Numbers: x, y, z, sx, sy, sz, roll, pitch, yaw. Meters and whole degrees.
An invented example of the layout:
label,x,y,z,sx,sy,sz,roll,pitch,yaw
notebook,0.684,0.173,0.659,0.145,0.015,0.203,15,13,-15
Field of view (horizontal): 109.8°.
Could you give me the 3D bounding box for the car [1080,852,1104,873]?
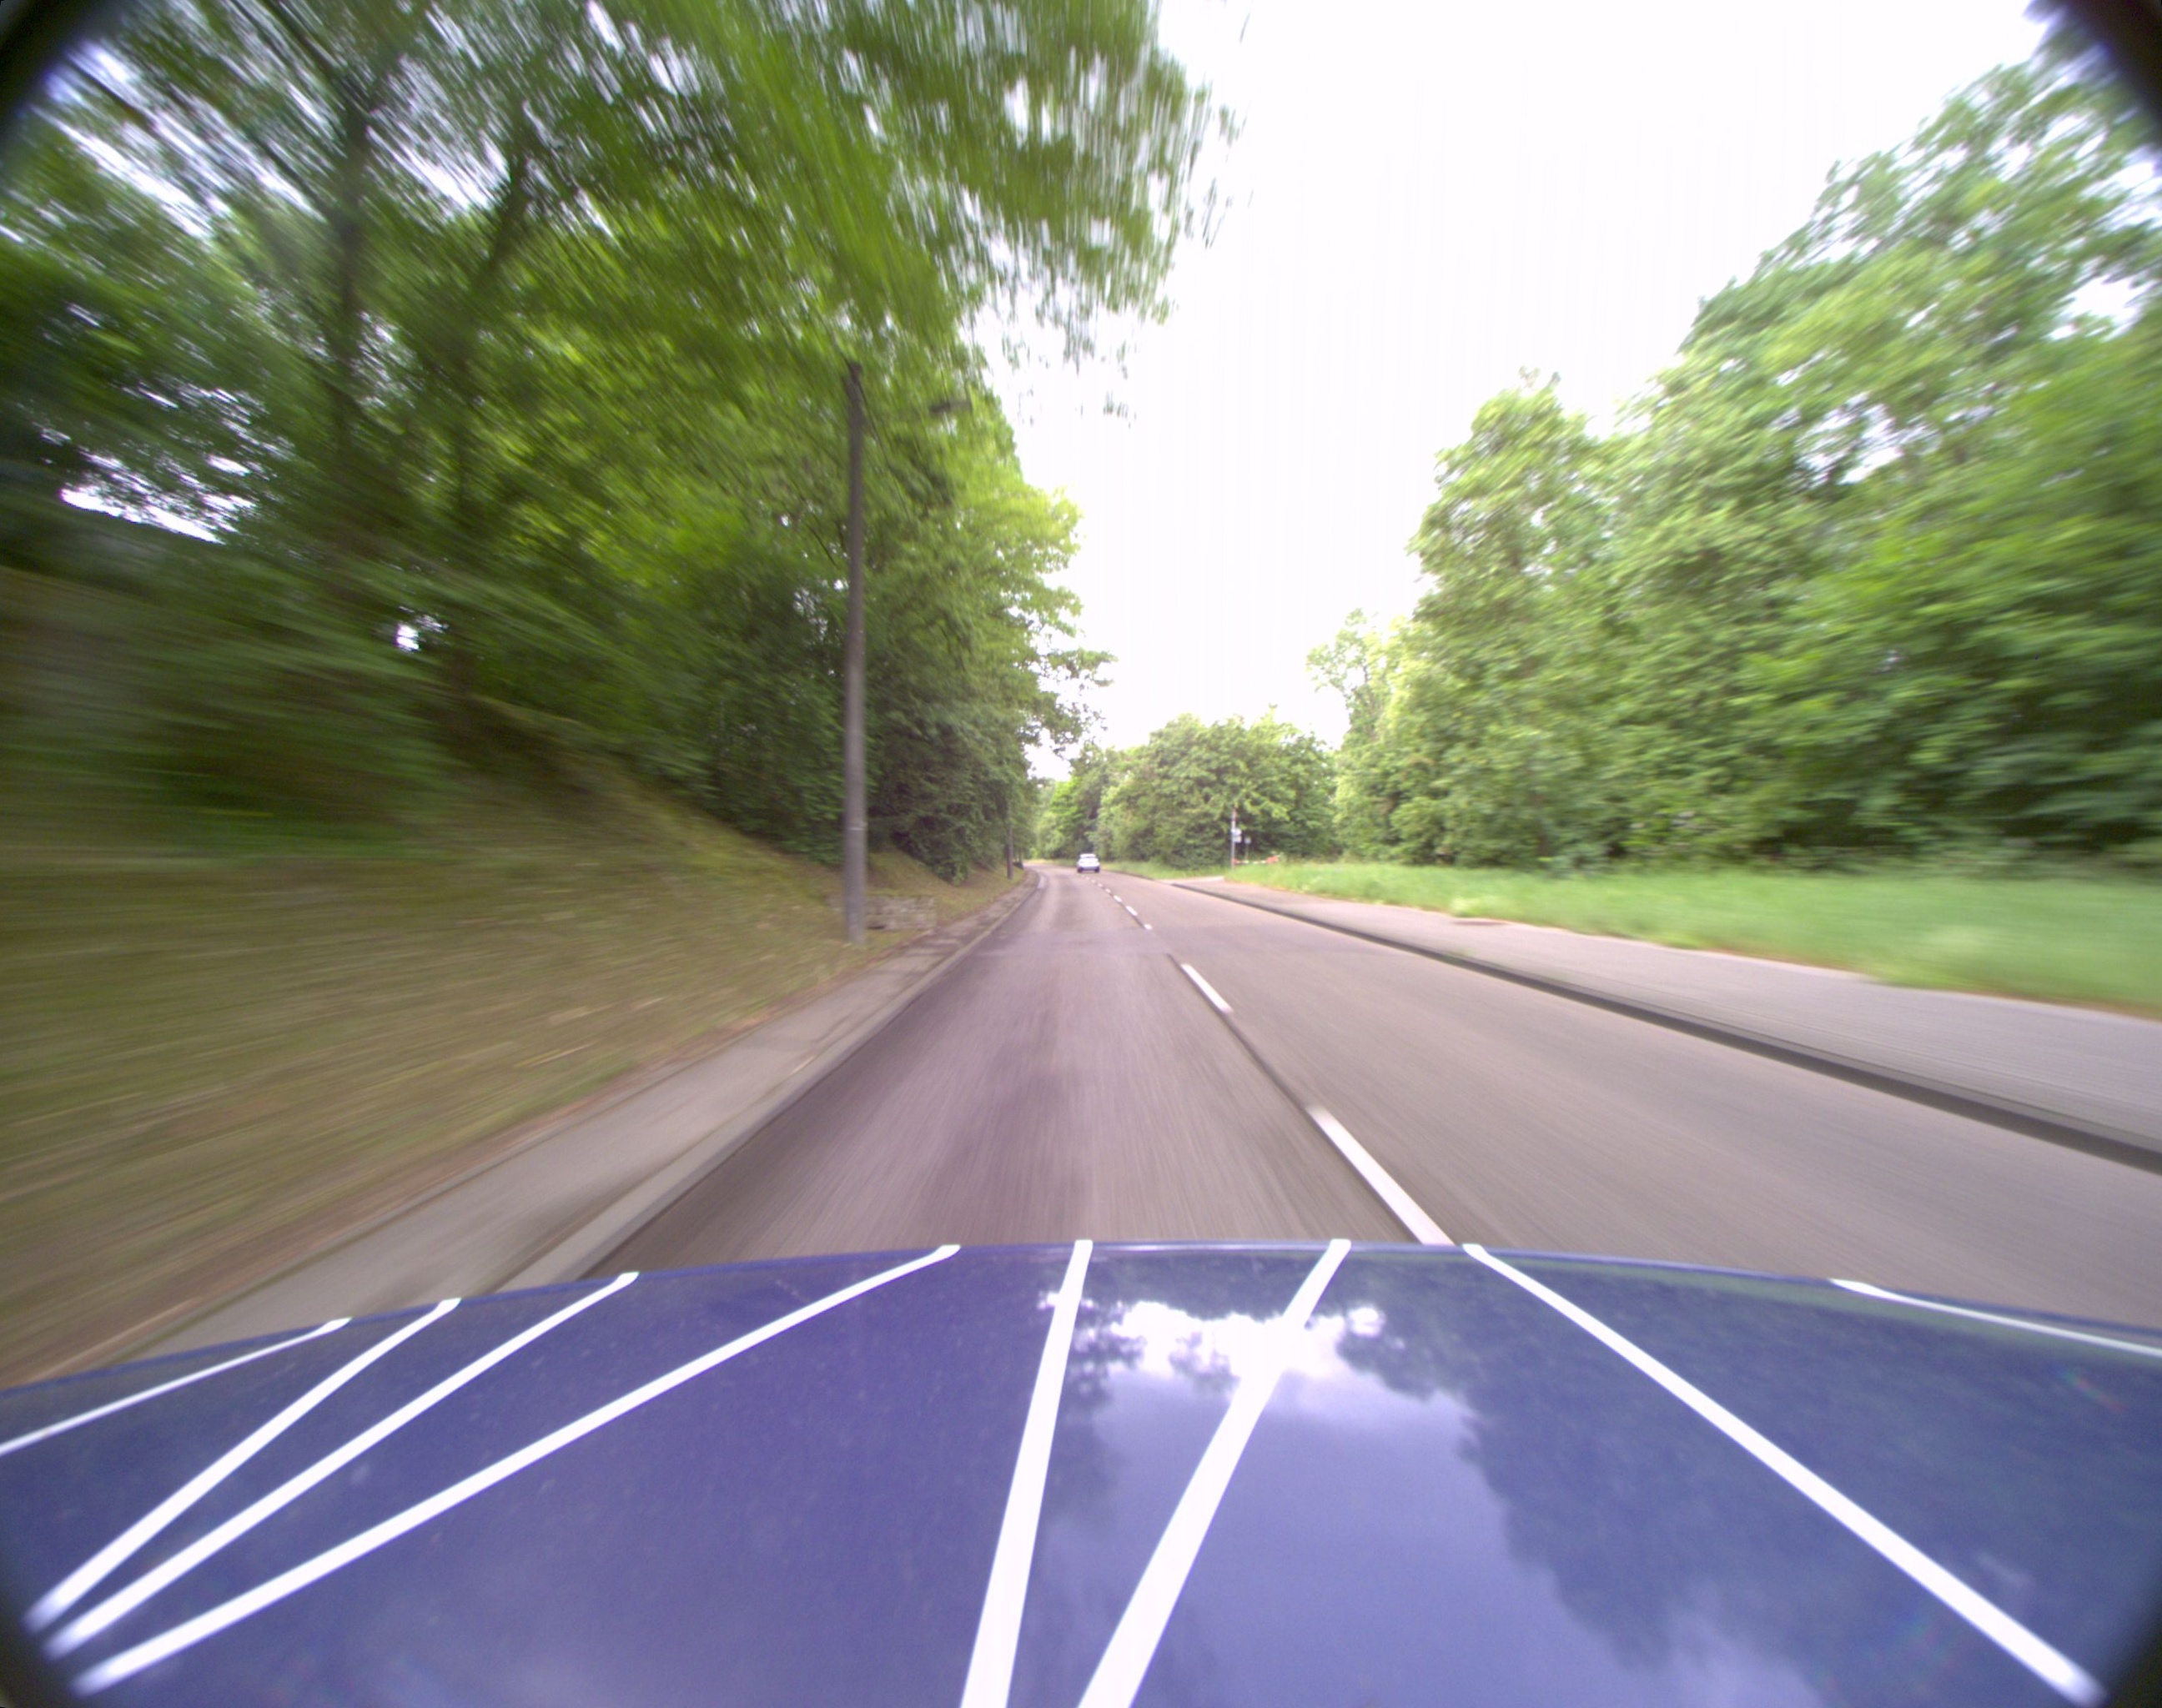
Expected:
label,x,y,z,sx,sy,sz,roll,pitch,yaw
car,0.964,0.732,69.464,1.999,1.743,4.780,-2,1,-1
